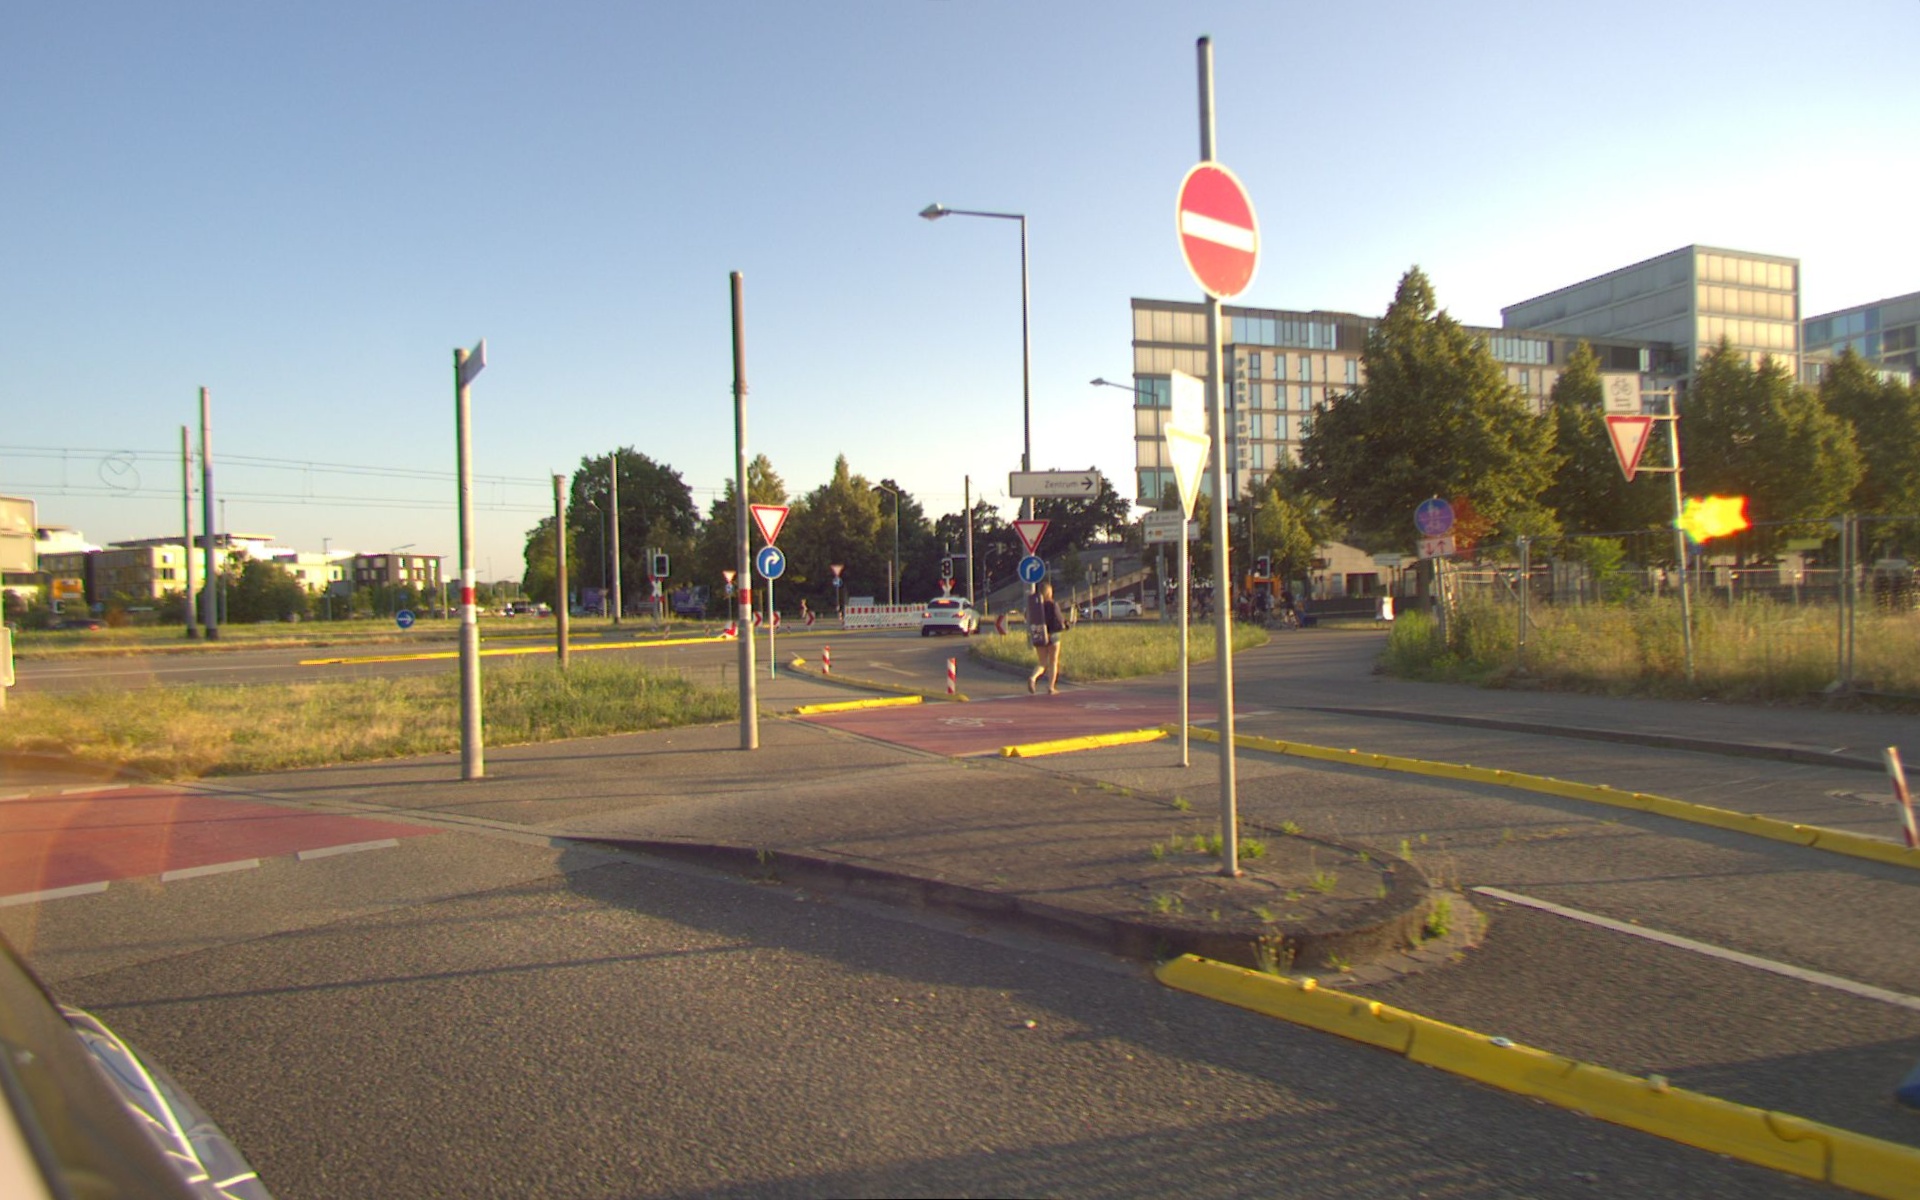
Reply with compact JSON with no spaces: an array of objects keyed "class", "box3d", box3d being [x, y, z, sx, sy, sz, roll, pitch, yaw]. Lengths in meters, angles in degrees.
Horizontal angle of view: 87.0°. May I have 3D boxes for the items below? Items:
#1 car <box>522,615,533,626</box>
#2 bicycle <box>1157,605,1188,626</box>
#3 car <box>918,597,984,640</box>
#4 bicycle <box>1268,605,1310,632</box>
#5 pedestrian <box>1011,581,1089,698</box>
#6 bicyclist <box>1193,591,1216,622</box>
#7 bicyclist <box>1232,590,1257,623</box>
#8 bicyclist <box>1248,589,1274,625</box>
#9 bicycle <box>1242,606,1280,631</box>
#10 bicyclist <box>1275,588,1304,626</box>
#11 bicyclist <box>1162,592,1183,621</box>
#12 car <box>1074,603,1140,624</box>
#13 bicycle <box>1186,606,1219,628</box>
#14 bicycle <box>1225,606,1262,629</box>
[{"class":"car","box3d":[-86.680,4.046,202.648,1.965,2.029,4.013,-1,0,-23]},{"class":"bicycle","box3d":[11.039,0.818,52.724,0.689,1.052,2.085,-1,0,-15]},{"class":"car","box3d":[-0.283,0.663,37.847,1.615,1.475,3.985,-1,0,12]},{"class":"bicycle","box3d":[13.421,0.741,41.308,0.689,1.052,2.084,-1,0,-11]},{"class":"pedestrian","box3d":[1.362,0.582,15.297,0.787,1.708,0.914,-1,-1,41]},{"class":"bicyclist","box3d":[12.015,0.309,49.826,0.689,1.502,0.977,-1,0,-15]},{"class":"bicyclist","box3d":[13.037,0.296,46.454,0.689,1.502,0.977,-1,0,-15]},{"class":"bicyclist","box3d":[13.009,0.297,43.719,0.689,1.502,0.976,-1,0,-11]},{"class":"bicycle","box3d":[13.002,0.794,43.784,0.689,1.052,2.084,-1,0,-11]},{"class":"bicyclist","box3d":[13.424,0.292,41.261,0.689,1.502,0.976,-1,0,-11]},{"class":"bicyclist","box3d":[11.062,0.320,52.625,0.689,1.502,0.977,-1,0,-15]},{"class":"car","box3d":[10.898,0.992,74.954,4.513,1.432,1.828,-1,0,-20]},{"class":"bicycle","box3d":[11.966,0.806,50.024,0.689,1.052,2.085,-1,0,-15]},{"class":"bicycle","box3d":[13.009,0.793,46.491,0.689,1.052,2.085,-1,0,-15]}]
